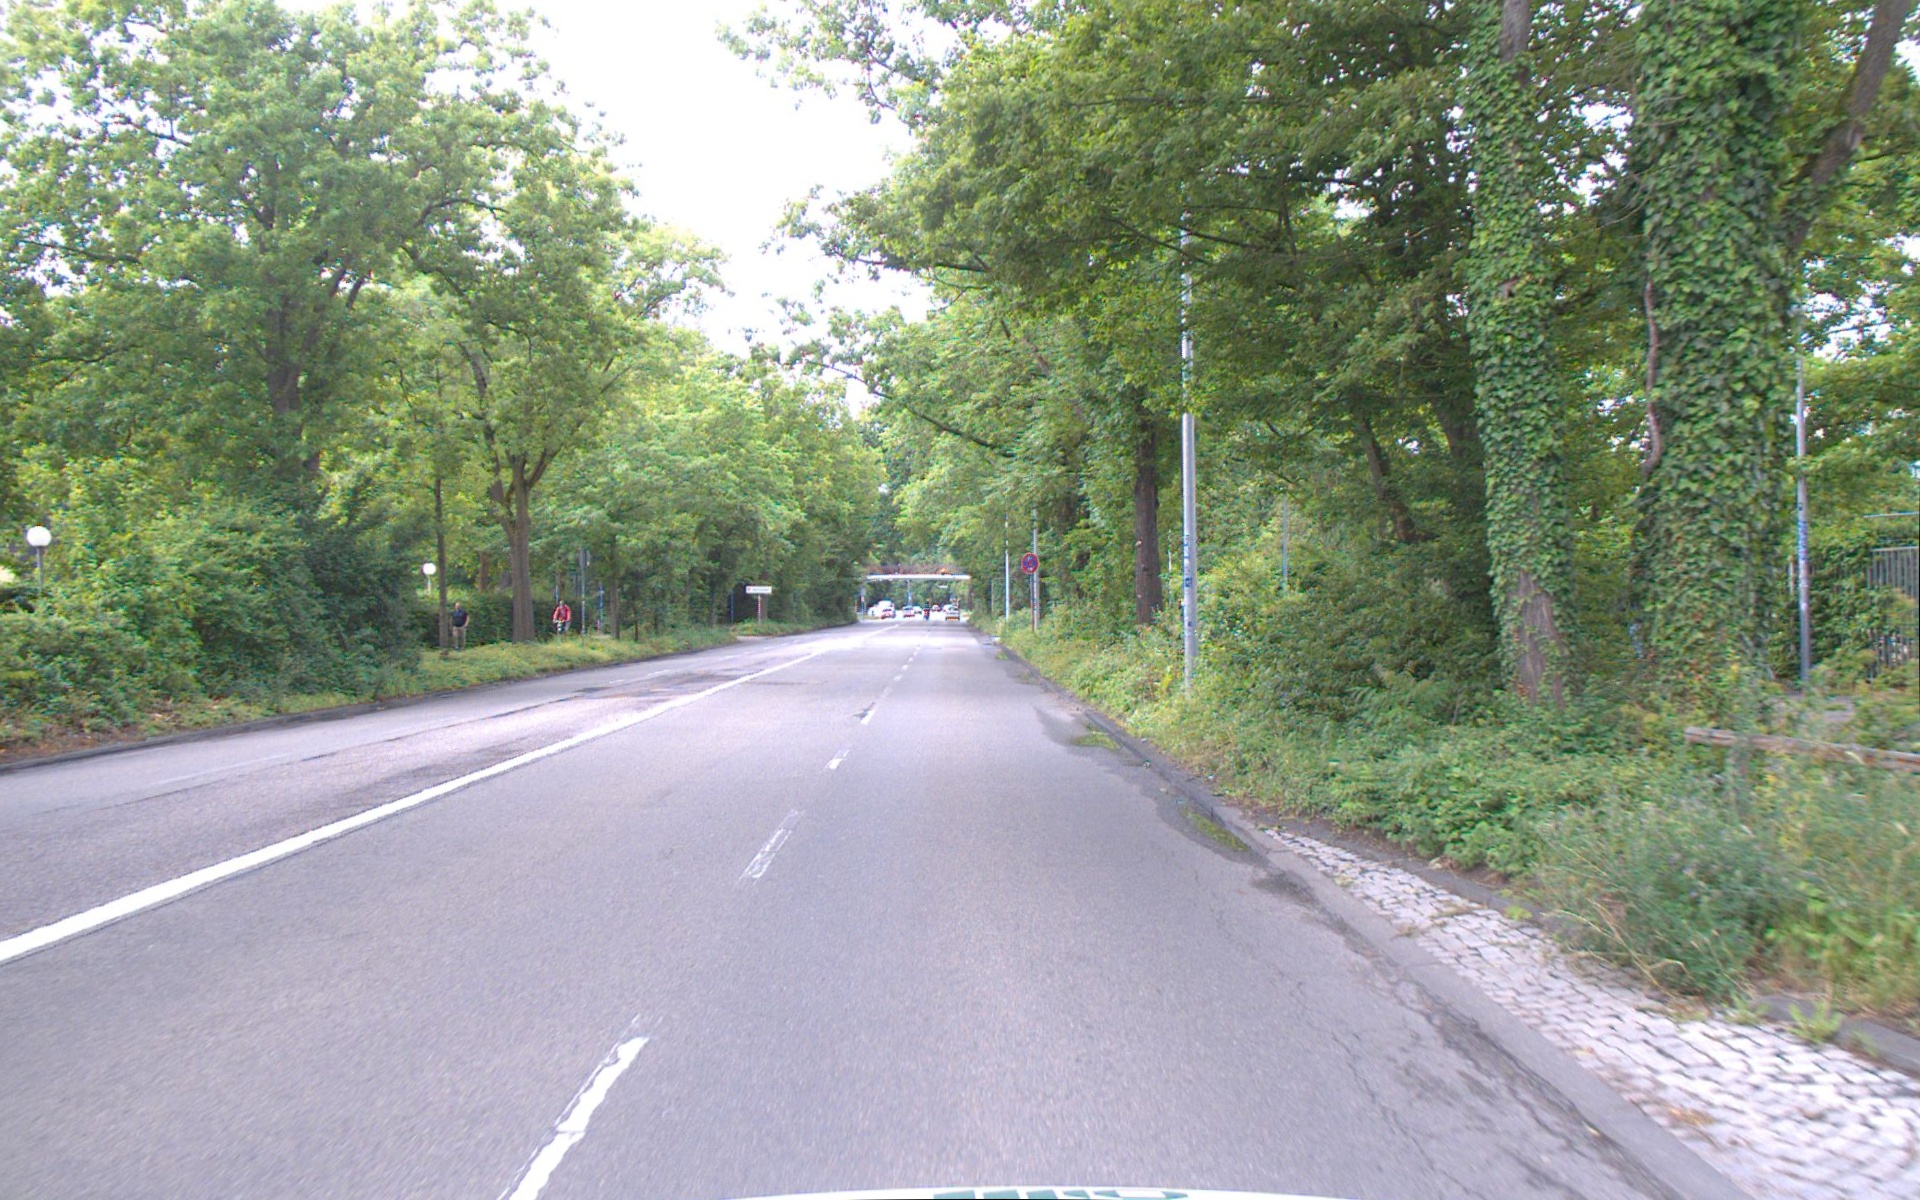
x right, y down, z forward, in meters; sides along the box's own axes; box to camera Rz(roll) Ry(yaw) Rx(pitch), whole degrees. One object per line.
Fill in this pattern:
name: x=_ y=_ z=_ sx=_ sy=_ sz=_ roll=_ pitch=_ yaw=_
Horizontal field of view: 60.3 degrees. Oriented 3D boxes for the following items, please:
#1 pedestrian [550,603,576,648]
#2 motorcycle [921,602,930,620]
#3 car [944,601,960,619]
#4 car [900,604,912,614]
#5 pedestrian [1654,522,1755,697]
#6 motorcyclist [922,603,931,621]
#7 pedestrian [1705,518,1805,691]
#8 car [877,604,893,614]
pedestrian: x=-14.828 y=0.945 z=61.810 sx=0.775 sy=1.641 sz=0.848 roll=0 pitch=0 yaw=0
motorcycle: x=-3.870 y=1.227 z=187.600 sx=0.970 sy=1.970 sz=2.668 roll=0 pitch=0 yaw=-1
car: x=-0.899 y=1.109 z=183.878 sx=1.806 sy=2.049 sz=3.999 roll=0 pitch=0 yaw=-1
car: x=-7.568 y=1.266 z=230.877 sx=1.640 sy=1.386 sz=3.920 roll=0 pitch=0 yaw=-1
pedestrian: x=9.057 y=0.116 z=20.151 sx=0.807 sy=2.049 sz=0.720 roll=-3 pitch=0 yaw=-1
motorcyclist: x=-3.784 y=1.357 z=187.535 sx=1.041 sy=2.049 sz=0.842 roll=0 pitch=0 yaw=-1
pedestrian: x=9.732 y=0.052 z=20.266 sx=0.807 sy=2.049 sz=0.720 roll=-2 pitch=0 yaw=-1
car: x=-10.440 y=1.257 z=230.717 sx=1.952 sy=1.378 sz=3.895 roll=0 pitch=0 yaw=2
